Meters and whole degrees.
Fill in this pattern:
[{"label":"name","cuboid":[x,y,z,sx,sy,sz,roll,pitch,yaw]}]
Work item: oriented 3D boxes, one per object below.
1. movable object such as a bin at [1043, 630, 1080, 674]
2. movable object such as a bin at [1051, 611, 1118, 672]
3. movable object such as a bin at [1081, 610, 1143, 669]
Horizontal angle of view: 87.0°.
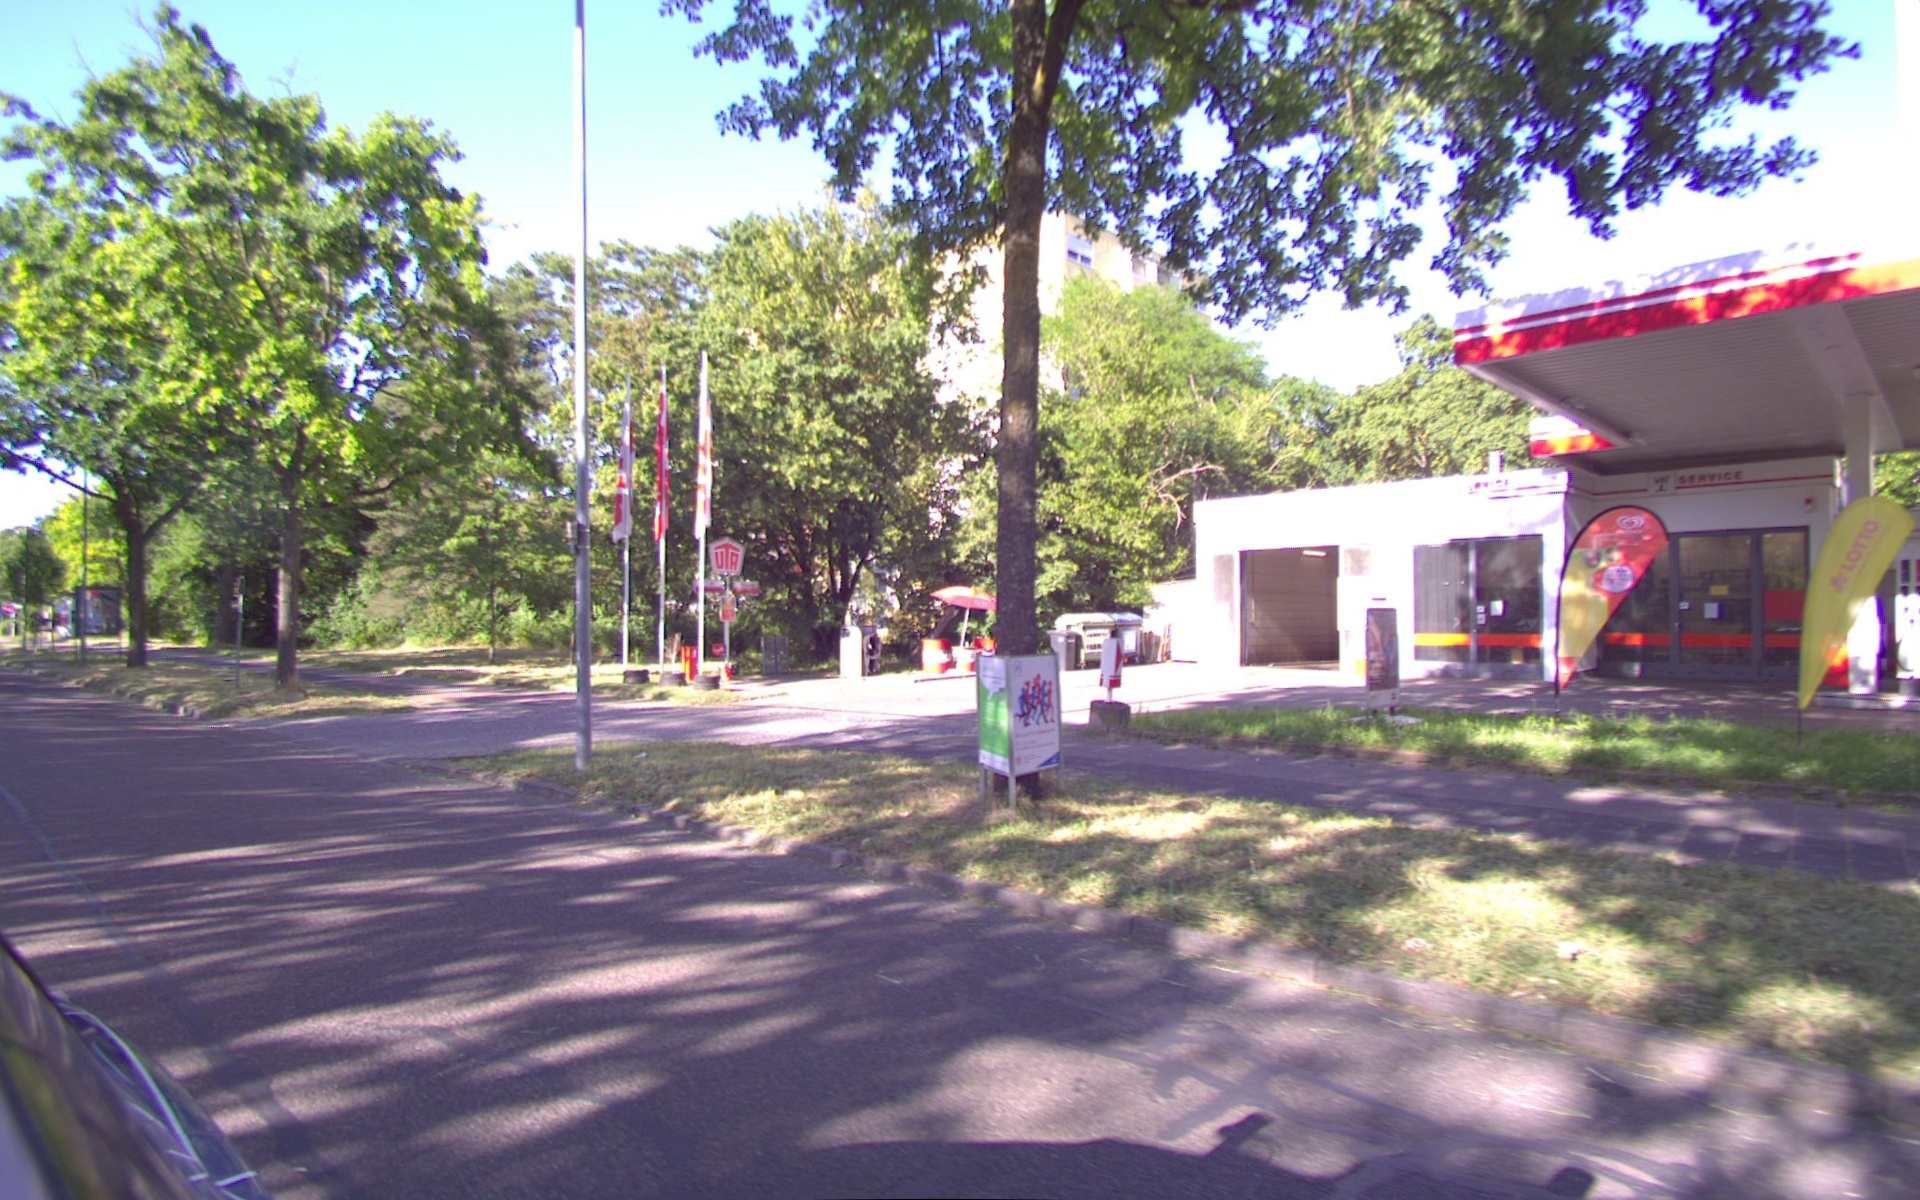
[{"label":"movable object such as a bin","cuboid":[2.593,1.319,25.907,0.768,1.094,0.562,-1,-2,41]},{"label":"movable object such as a bin","cuboid":[3.279,1.074,26.620,1.267,1.553,1.290,-1,-2,41]},{"label":"movable object such as a bin","cuboid":[4.145,1.048,27.575,1.163,1.553,1.290,-1,-1,41]}]
